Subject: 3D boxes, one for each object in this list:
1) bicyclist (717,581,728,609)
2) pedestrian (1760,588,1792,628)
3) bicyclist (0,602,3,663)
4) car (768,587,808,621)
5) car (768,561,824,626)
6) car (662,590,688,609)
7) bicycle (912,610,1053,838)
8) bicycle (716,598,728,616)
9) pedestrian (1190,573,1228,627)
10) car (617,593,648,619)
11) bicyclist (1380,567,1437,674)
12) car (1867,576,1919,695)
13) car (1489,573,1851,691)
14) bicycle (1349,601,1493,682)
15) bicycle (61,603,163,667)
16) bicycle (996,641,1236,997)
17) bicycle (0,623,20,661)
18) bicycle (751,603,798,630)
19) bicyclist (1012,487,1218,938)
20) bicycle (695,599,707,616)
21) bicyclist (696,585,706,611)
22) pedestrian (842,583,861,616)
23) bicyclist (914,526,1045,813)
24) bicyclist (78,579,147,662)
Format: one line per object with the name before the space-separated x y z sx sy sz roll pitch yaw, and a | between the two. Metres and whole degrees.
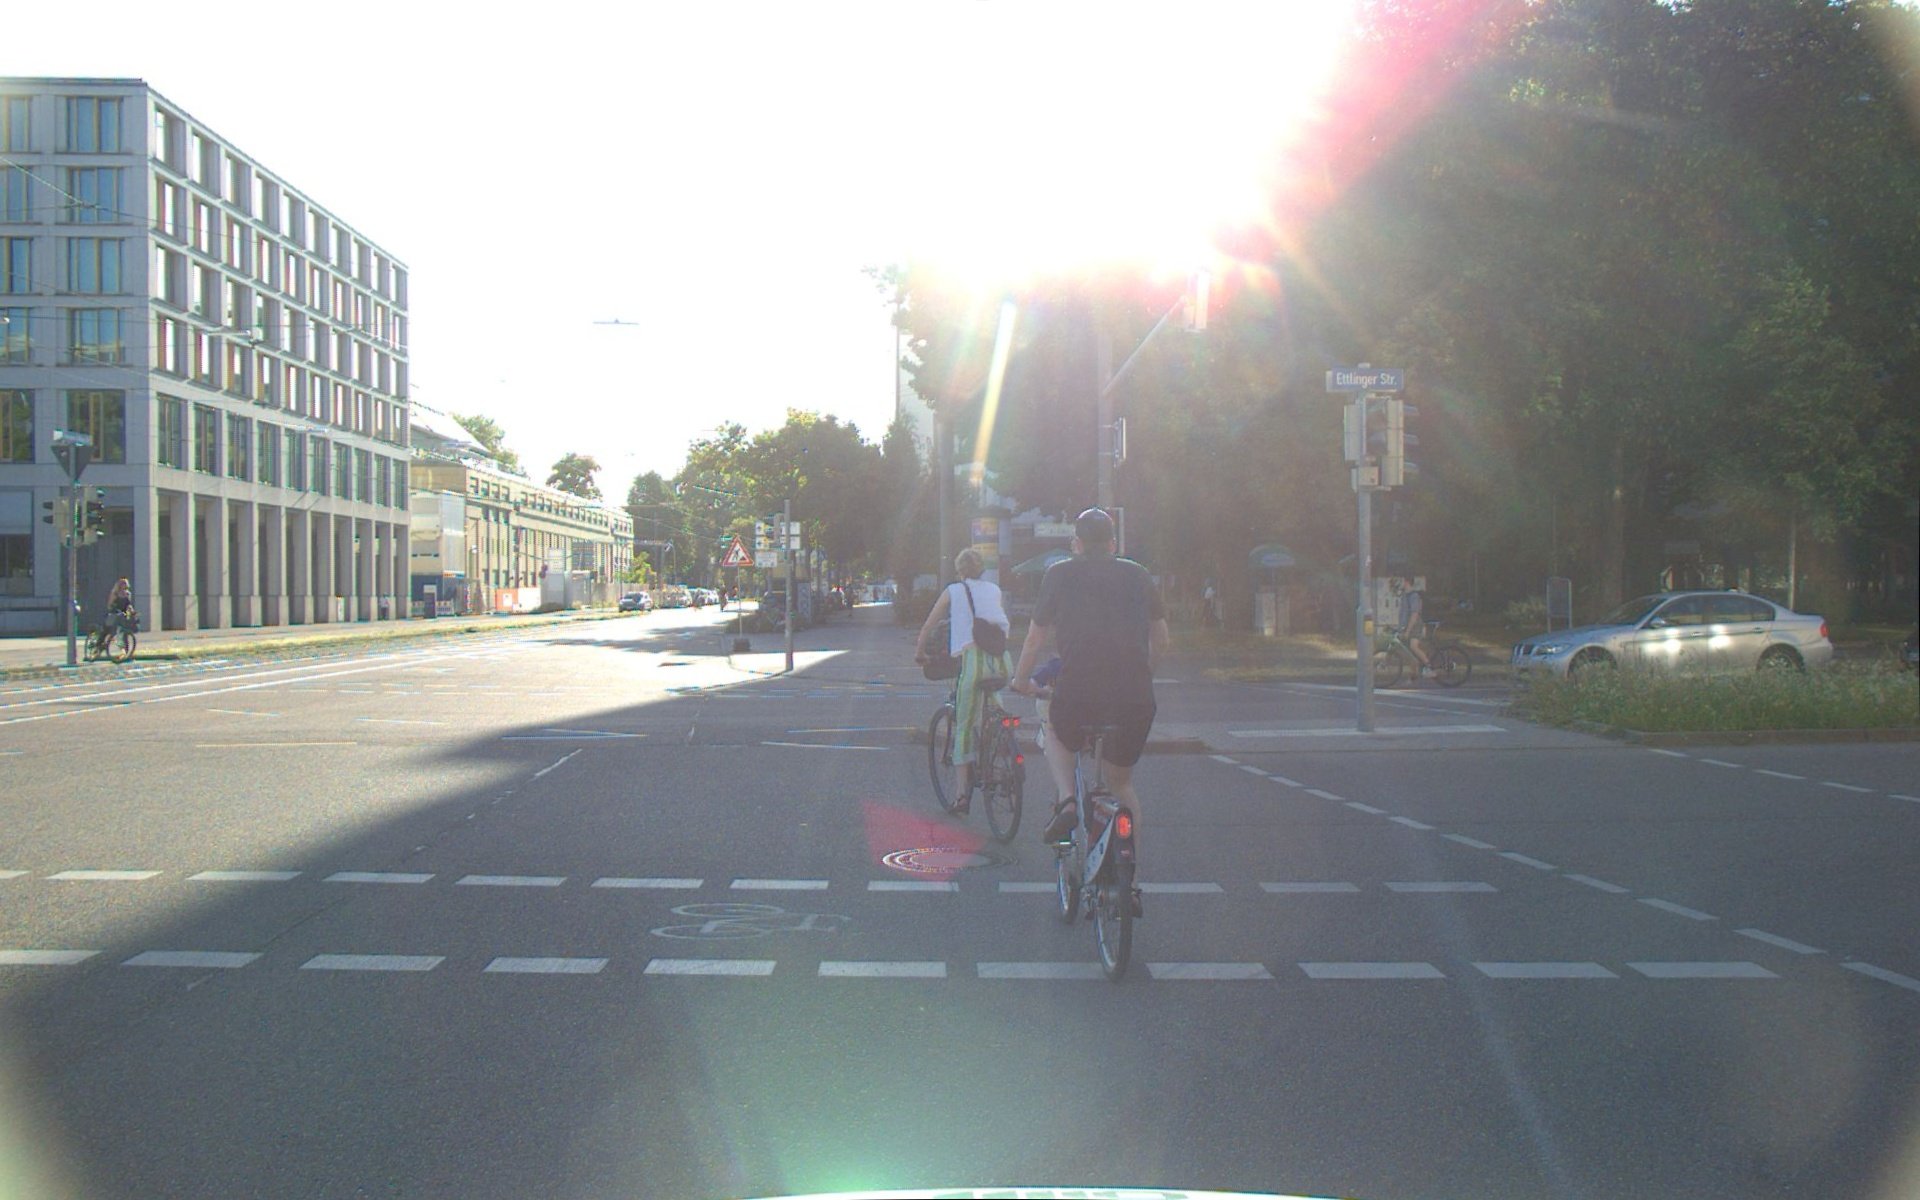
bicyclist | -16.285 -0.363 113.216 0.651 1.885 0.783 -1 0 -2
pedestrian | 27.998 0.270 56.755 0.699 1.363 0.829 -1 0 1
bicyclist | -22.111 0.739 37.050 0.807 1.385 0.972 -1 0 -3
car | -7.561 0.154 73.040 1.664 1.453 3.996 -1 0 -5
car | -7.812 -0.309 79.372 2.541 3.004 5.084 -1 0 -5
car | -25.633 -0.088 148.938 1.954 1.668 3.996 -1 0 -5
bicycle | 0.096 0.709 10.496 0.760 1.261 2.311 1 0 -2
bicycle | -16.299 0.473 113.321 0.647 1.176 1.808 -1 0 -2
pedestrian | 8.352 -0.004 55.455 1.185 1.771 0.895 -1 0 13
car | -26.391 0.459 133.421 1.954 2.004 3.996 -1 0 -5
bicyclist | 7.277 0.335 26.865 0.818 1.708 0.784 -1 -1 12
car | 15.986 0.480 24.126 4.443 1.705 1.999 -1 0 -2
car | 10.297 0.444 24.212 4.443 1.588 1.999 -1 0 -2
bicycle | 7.453 0.670 26.824 2.193 1.261 0.779 -1 -1 12
bicycle | -17.155 0.698 33.449 1.969 1.252 0.845 -1 0 27
bicycle | 0.606 0.844 7.173 0.760 1.261 2.020 1 0 -2
bicycle | -22.115 0.963 37.047 0.823 0.866 2.335 -1 0 -2
bicycle | -6.420 0.574 57.211 1.572 0.904 0.768 -1 0 -11
bicyclist | 0.628 0.448 6.970 0.737 1.774 0.838 1 -1 -2
bicycle | -18.580 0.515 118.619 0.647 1.176 1.808 -1 0 -2
bicyclist | -18.594 -0.131 118.723 0.622 1.885 0.783 -1 0 -2
pedestrian | -5.769 -0.026 87.691 0.771 1.771 0.889 -1 0 -21
bicyclist | 0.104 0.423 10.439 0.757 1.720 0.925 1 -1 -2
bicyclist | -17.124 0.405 33.428 0.951 1.647 0.851 -1 0 27
